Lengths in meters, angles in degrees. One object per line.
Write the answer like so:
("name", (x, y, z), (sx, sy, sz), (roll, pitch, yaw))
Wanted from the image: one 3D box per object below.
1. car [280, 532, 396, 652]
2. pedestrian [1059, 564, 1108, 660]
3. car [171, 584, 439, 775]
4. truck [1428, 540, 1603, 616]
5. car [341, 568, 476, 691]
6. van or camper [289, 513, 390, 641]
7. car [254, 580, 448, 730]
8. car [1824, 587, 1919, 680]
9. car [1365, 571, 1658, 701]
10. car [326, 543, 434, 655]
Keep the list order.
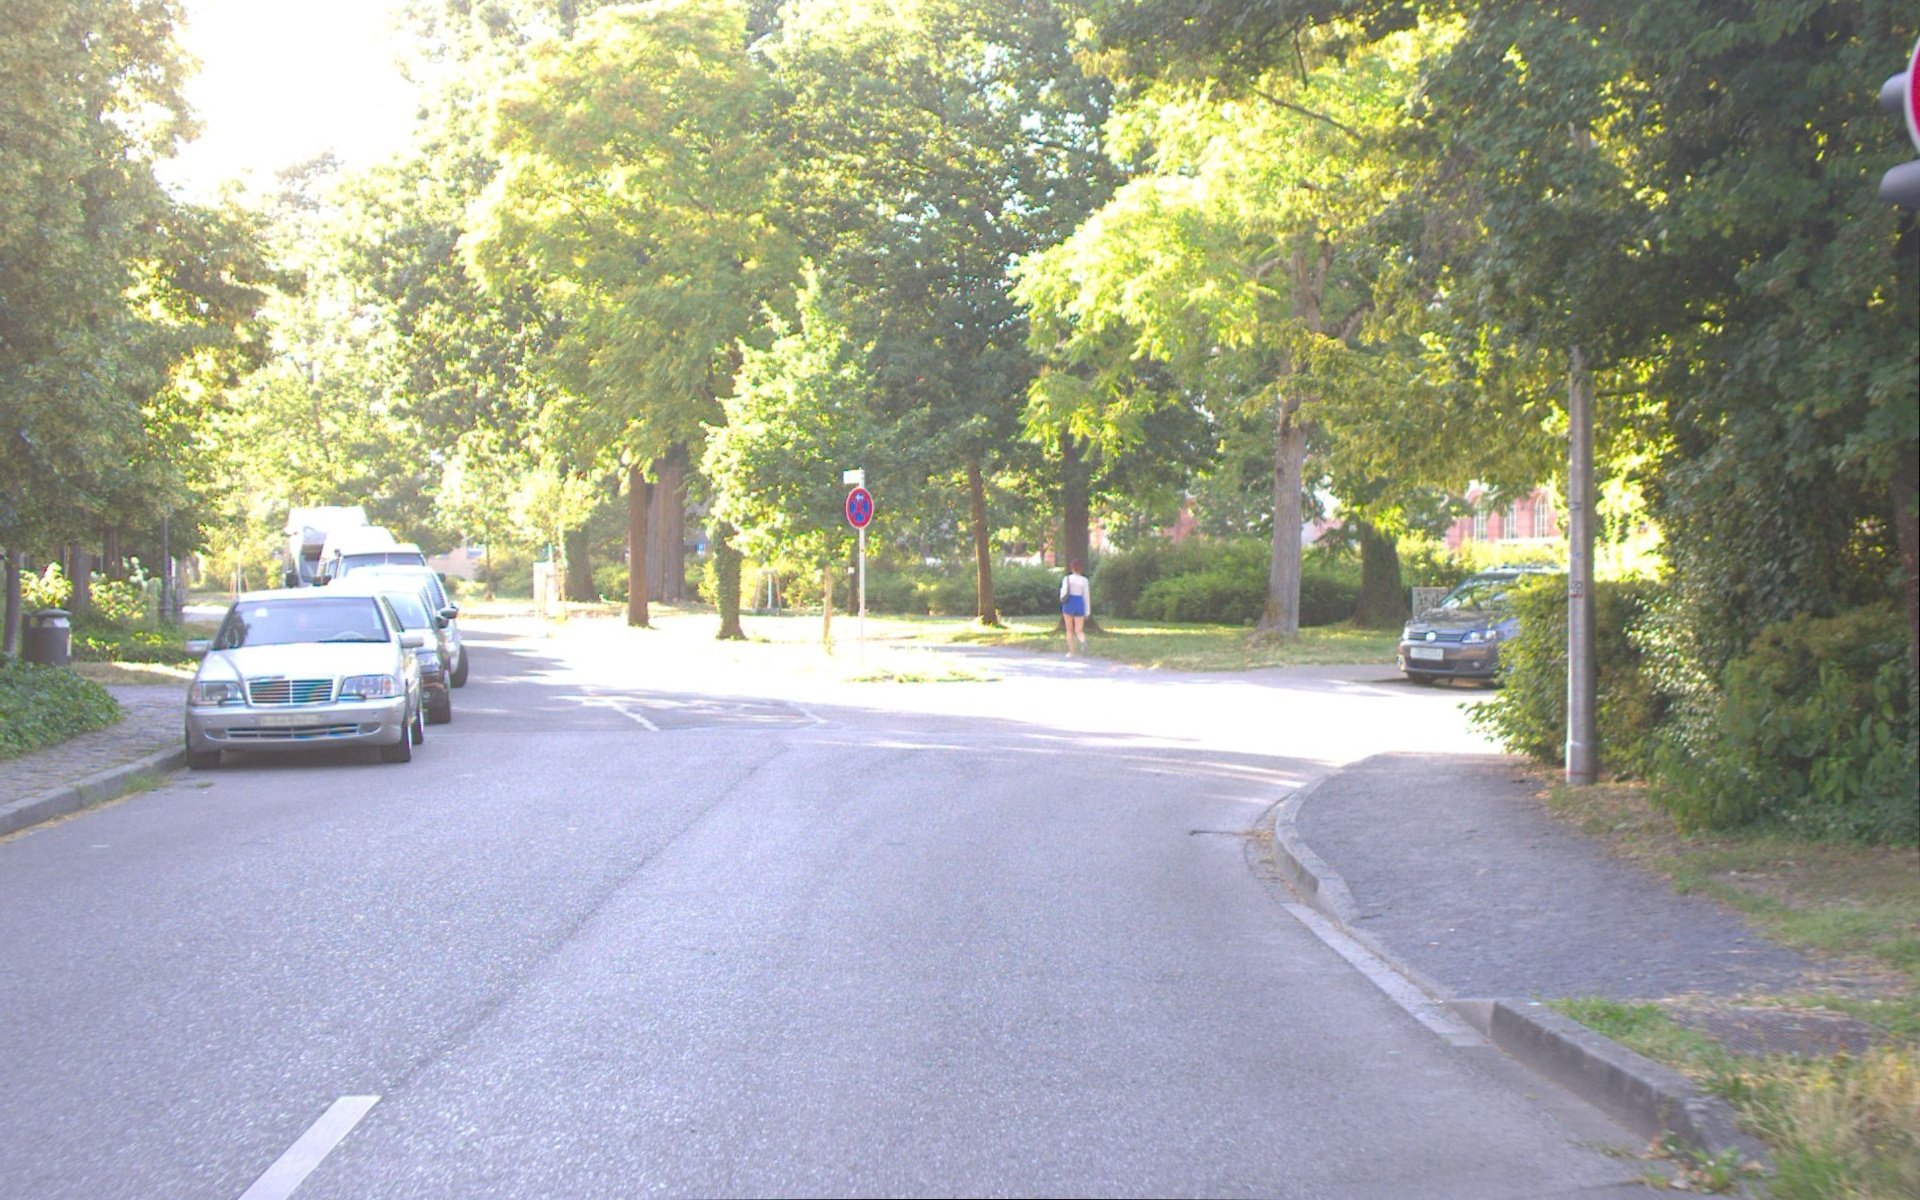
("car", (-12.763, -0.180, 70.333), (1.850, 2.348, 5.188), (1, 0, -15))
("pedestrian", (2.032, 0.199, 56.485), (0.773, 1.569, 0.768), (0, 0, 0))
("car", (-5.413, 0.605, 28.883), (1.779, 1.411, 4.499), (-2, 1, -6))
("truck", (22.852, -0.937, 141.812), (2.604, 3.019, 8.009), (1, 0, -30))
("car", (-7.423, 0.370, 46.119), (1.704, 1.573, 3.698), (1, 0, -10))
("van or camper", (-14.821, -0.554, 81.879), (2.089, 2.898, 6.334), (1, 0, -13))
("car", (-6.284, 0.519, 35.818), (1.824, 1.411, 4.496), (-2, 1, -9))
("car", (16.012, 0.541, 56.423), (3.964, 1.401, 1.695), (0, 2, -44))
("car", (7.767, 0.486, 48.188), (4.309, 1.670, 1.807), (0, 2, -44))
("car", (-10.583, -0.034, 62.622), (1.850, 1.939, 4.842), (1, 0, -10))
